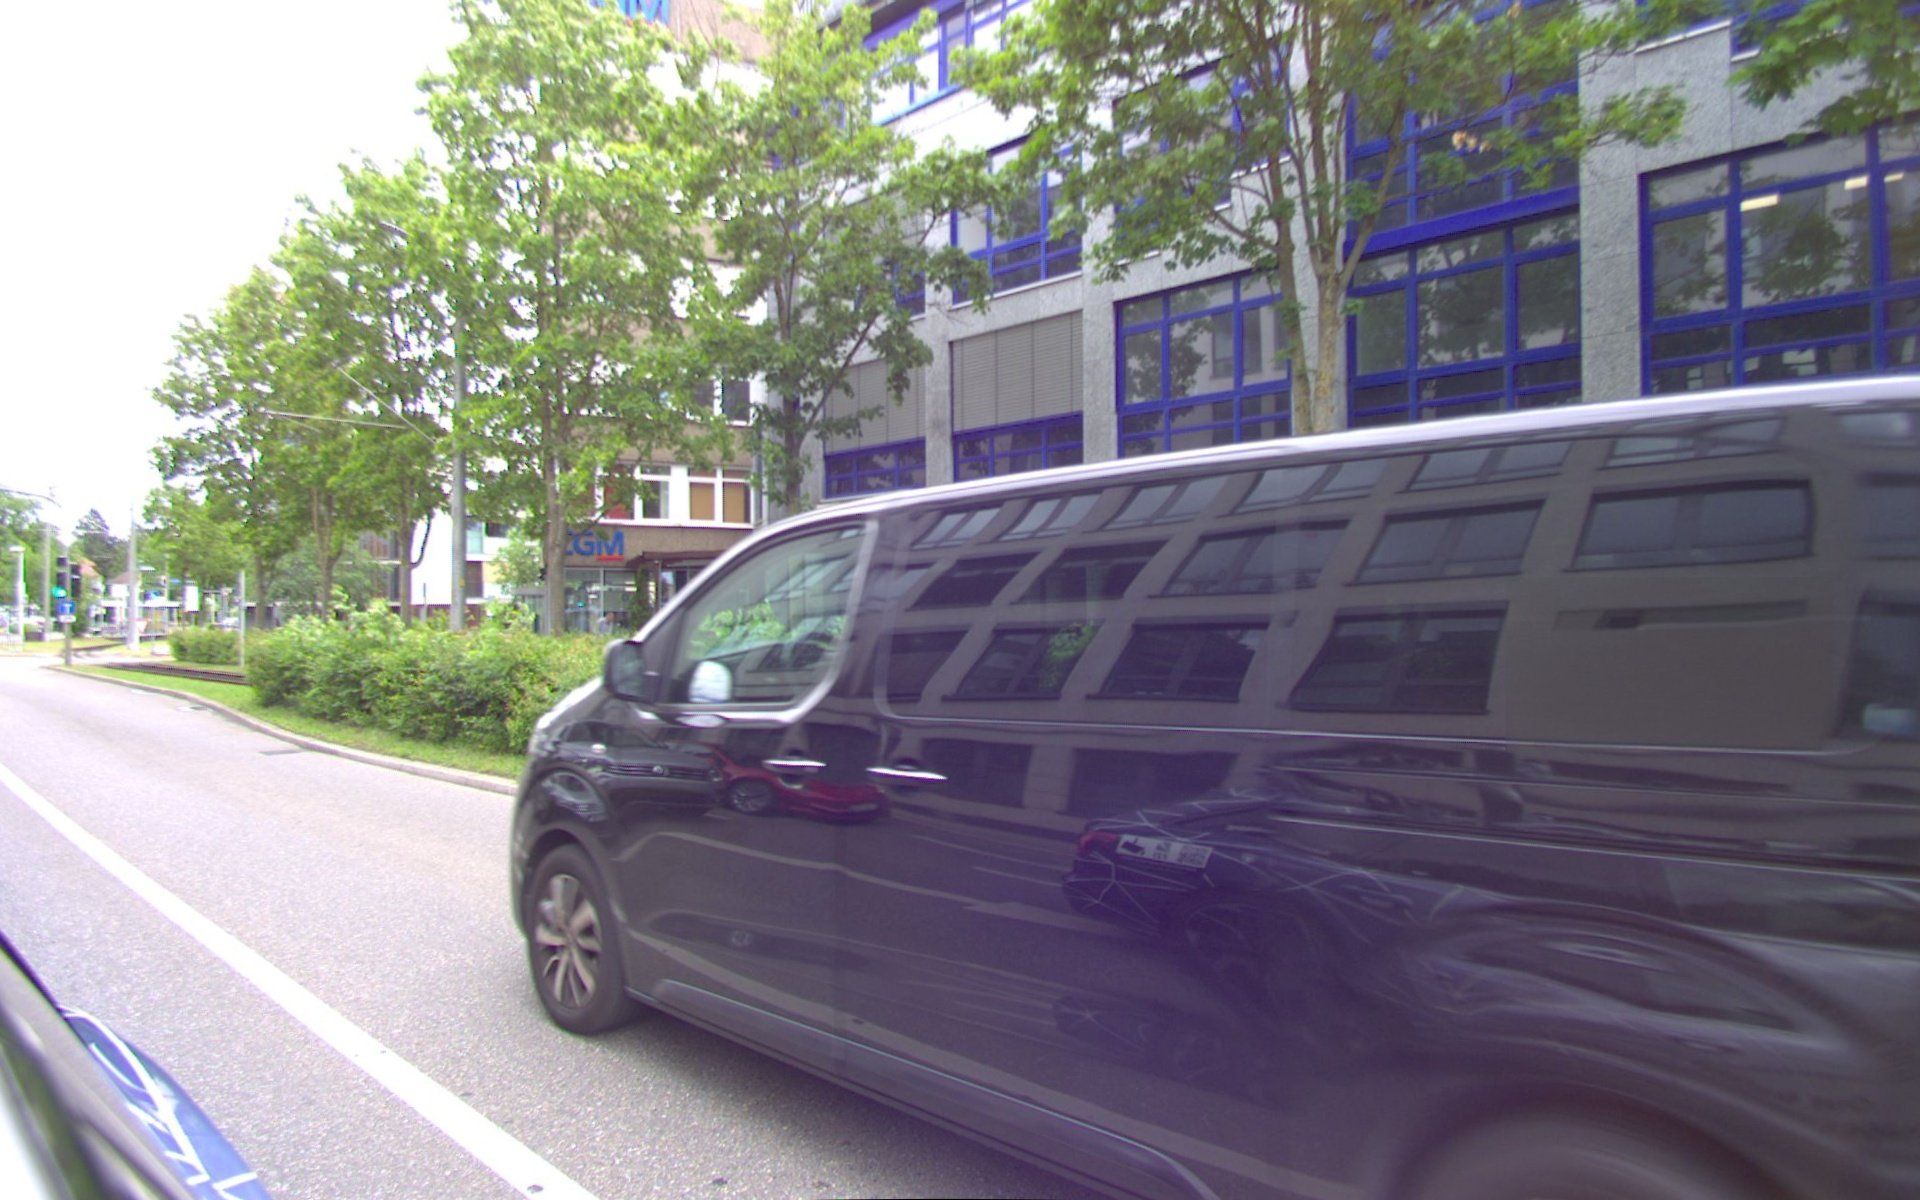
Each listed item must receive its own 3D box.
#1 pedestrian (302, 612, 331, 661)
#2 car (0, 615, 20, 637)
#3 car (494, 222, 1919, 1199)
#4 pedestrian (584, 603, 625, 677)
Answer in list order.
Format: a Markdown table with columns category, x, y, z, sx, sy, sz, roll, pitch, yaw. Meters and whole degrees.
| category | x | y | z | sx | sy | sz | roll | pitch | yaw |
| --- | --- | --- | --- | --- | --- | --- | --- | --- | --- |
| pedestrian | -25.856 | 1.467 | 40.659 | 0.731 | 1.938 | 0.805 | -1 | 0 | 40 |
| car | -89.873 | 2.411 | 94.478 | 1.965 | 2.029 | 4.013 | 0 | 0 | -25 |
| car | 0.674 | 0.540 | 3.035 | 4.734 | 1.962 | 1.973 | -1 | -2 | 41 |
| pedestrian | -8.920 | 0.991 | 25.406 | 0.730 | 1.819 | 0.672 | -1 | 0 | 37 |
